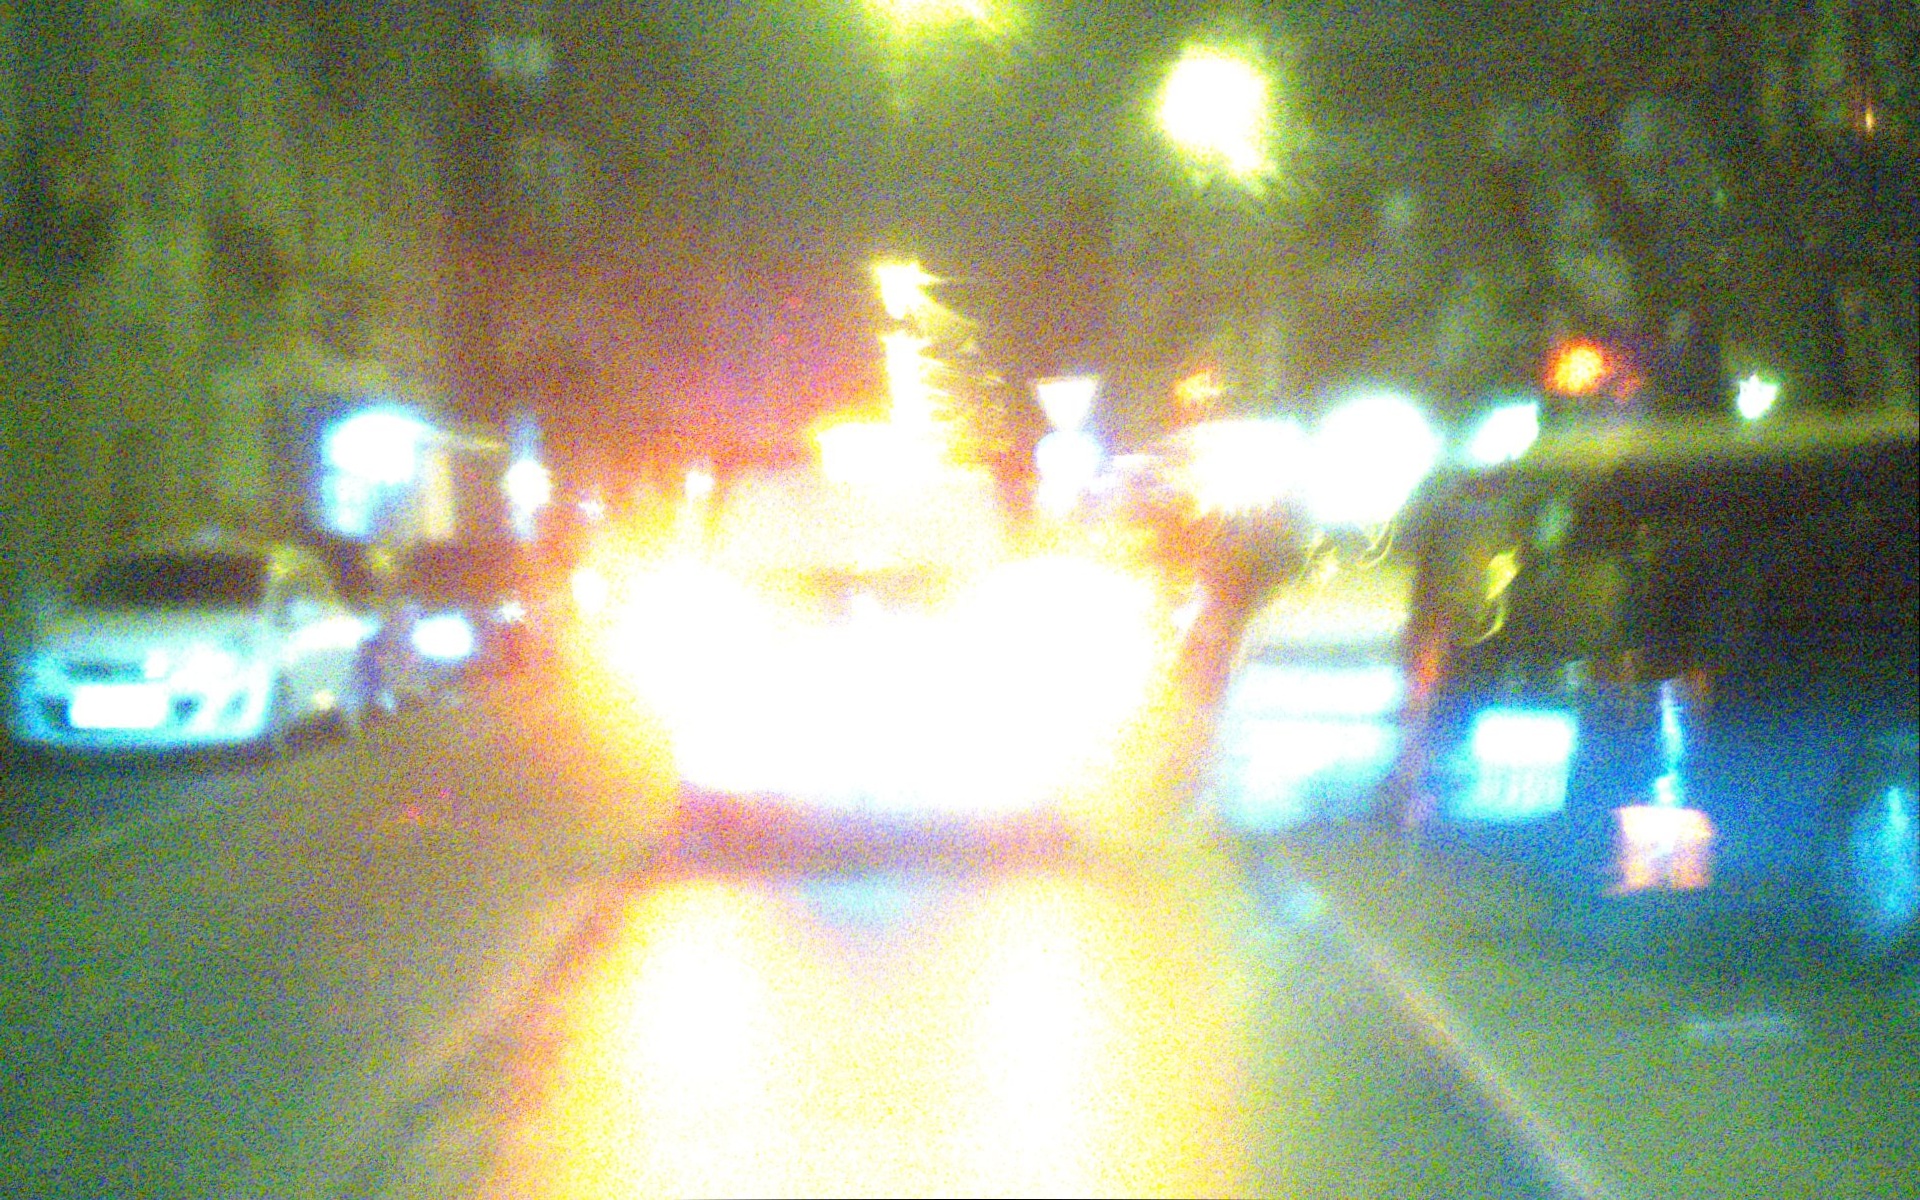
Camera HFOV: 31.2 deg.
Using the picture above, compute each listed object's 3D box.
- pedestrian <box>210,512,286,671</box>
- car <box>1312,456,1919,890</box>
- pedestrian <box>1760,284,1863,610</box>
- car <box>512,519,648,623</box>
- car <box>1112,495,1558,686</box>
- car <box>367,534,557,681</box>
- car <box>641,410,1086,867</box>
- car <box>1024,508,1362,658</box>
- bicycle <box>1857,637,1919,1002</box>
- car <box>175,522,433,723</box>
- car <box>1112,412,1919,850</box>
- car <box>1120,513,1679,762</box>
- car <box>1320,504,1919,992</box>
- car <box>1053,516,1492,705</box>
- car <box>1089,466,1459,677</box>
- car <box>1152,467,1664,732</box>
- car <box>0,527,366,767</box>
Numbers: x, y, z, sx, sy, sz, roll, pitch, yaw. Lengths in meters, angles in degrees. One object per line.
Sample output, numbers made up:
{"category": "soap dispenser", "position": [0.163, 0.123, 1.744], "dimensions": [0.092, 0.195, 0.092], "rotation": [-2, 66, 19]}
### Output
{"category": "pedestrian", "position": [-7.656, -0.098, 36.980], "dimensions": [0.701, 1.698, 0.539], "rotation": [0, 1, 0]}
{"category": "car", "position": [3.561, 0.245, 15.528], "dimensions": [3.554, 1.705, 1.646], "rotation": [-3, 1, -29]}
{"category": "pedestrian", "position": [9.288, -1.664, 37.534], "dimensions": [0.891, 3.515, 0.791], "rotation": [0, 1, 0]}
{"category": "car", "position": [-6.372, -0.512, 57.987], "dimensions": [1.883, 1.679, 4.000], "rotation": [0, 1, -1]}
{"category": "car", "position": [3.652, -0.120, 33.223], "dimensions": [3.988, 1.582, 1.880], "rotation": [-4, 2, -36]}
{"category": "car", "position": [-5.500, 0.043, 38.370], "dimensions": [1.812, 1.552, 4.077], "rotation": [0, 1, -4]}
{"category": "car", "position": [-0.453, 0.158, 17.424], "dimensions": [1.993, 2.043, 4.000], "rotation": [0, 0, -1]}
{"category": "car", "position": [2.629, -0.204, 38.514], "dimensions": [3.554, 1.585, 1.605], "rotation": [-1, 0, -37]}
{"category": "bicycle", "position": [3.426, 0.652, 9.755], "dimensions": [0.518, 1.072, 1.827], "rotation": [-3, 1, -32]}
{"category": "car", "position": [-5.408, 0.138, 28.746], "dimensions": [1.655, 1.552, 4.077], "rotation": [0, 1, -4]}
{"category": "car", "position": [3.374, 0.078, 18.132], "dimensions": [4.784, 2.042, 2.067], "rotation": [-1, 2, -31]}
{"category": "car", "position": [3.065, 0.224, 23.738], "dimensions": [3.555, 1.479, 1.726], "rotation": [-3, 1, -36]}
{"category": "car", "position": [3.490, 0.399, 12.500], "dimensions": [3.987, 1.487, 1.735], "rotation": [-3, 1, -28]}
{"category": "car", "position": [2.772, 0.071, 30.215], "dimensions": [3.554, 1.448, 1.672], "rotation": [-3, 1, -35]}
{"category": "car", "position": [3.257, -0.313, 35.392], "dimensions": [3.555, 1.984, 1.605], "rotation": [-3, 1, -37]}
{"category": "car", "position": [3.517, -0.037, 26.717], "dimensions": [3.739, 1.834, 1.726], "rotation": [-3, 1, -37]}
{"category": "car", "position": [-5.150, 0.256, 23.214], "dimensions": [1.587, 1.477, 3.793], "rotation": [0, 1, 1]}
